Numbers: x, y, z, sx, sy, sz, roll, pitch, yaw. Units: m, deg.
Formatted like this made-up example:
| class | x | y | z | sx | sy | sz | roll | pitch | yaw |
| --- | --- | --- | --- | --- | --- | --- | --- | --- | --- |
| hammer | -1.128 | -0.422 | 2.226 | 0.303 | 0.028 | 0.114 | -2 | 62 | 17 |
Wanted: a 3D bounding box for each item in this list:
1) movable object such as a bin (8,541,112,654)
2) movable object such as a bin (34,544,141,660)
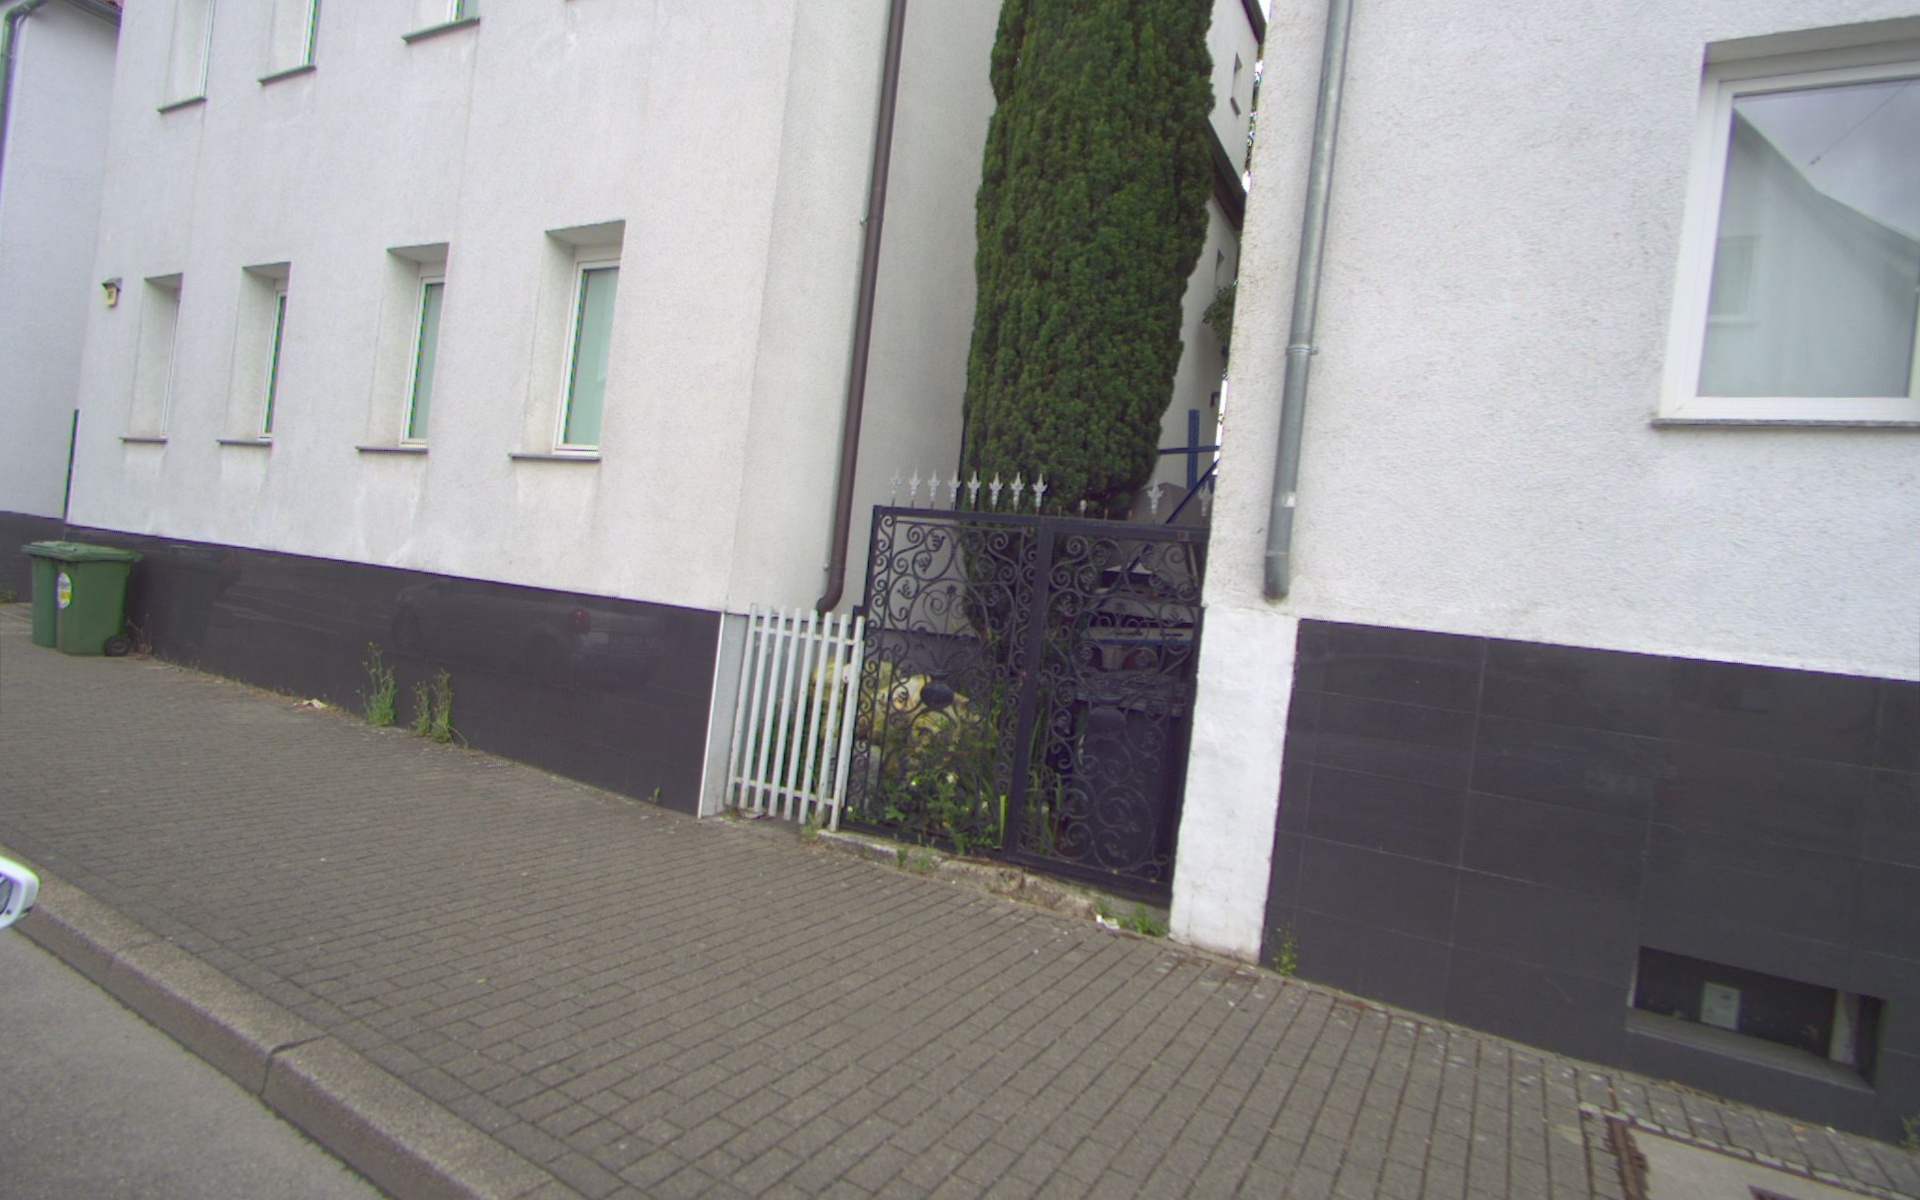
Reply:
| class | x | y | z | sx | sy | sz | roll | pitch | yaw |
| --- | --- | --- | --- | --- | --- | --- | --- | --- | --- |
| movable object such as a bin | -8.103 | -0.015 | 9.062 | 0.479 | 0.953 | 0.540 | 7 | 2 | 31 |
| movable object such as a bin | -7.639 | 0.023 | 8.813 | 0.479 | 0.953 | 0.540 | 7 | 2 | 31 |
